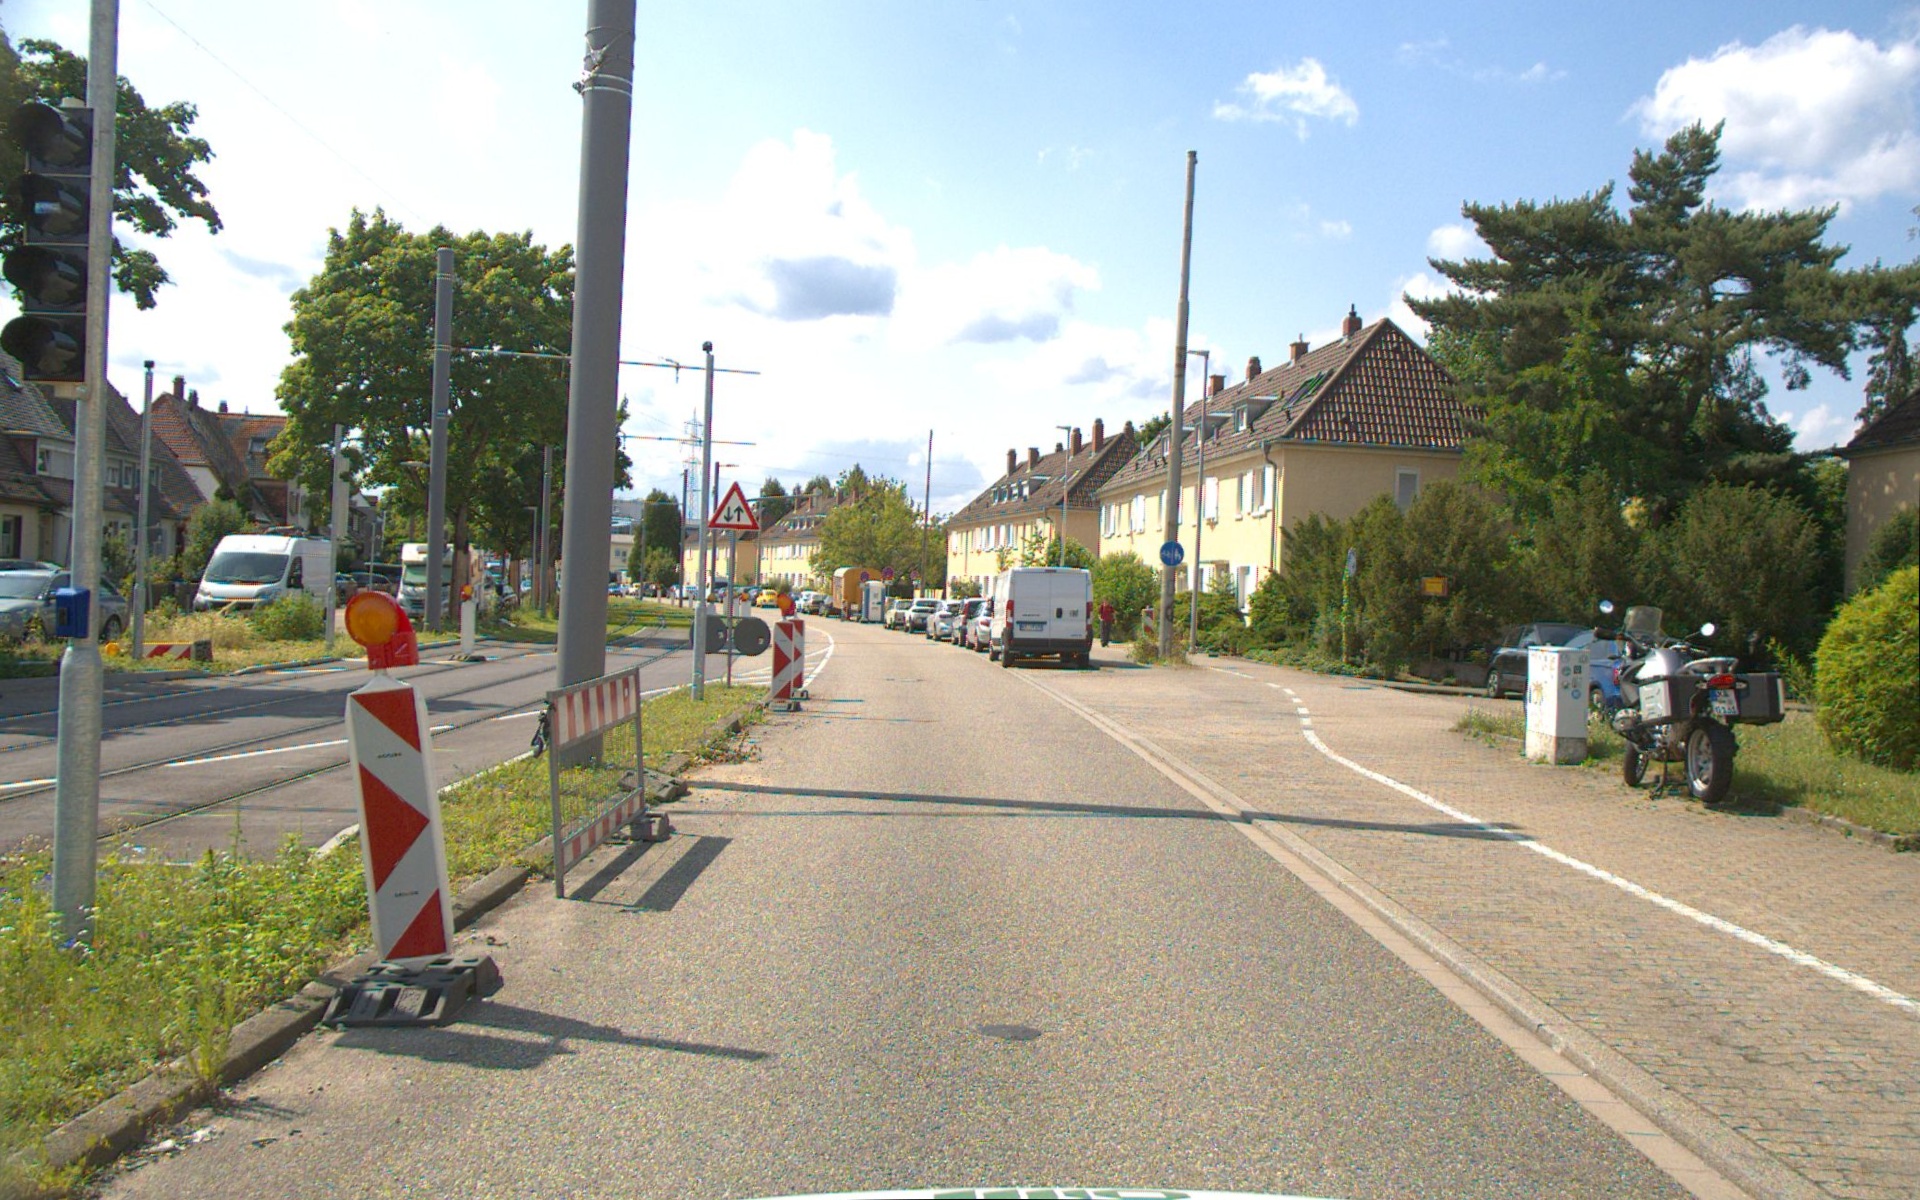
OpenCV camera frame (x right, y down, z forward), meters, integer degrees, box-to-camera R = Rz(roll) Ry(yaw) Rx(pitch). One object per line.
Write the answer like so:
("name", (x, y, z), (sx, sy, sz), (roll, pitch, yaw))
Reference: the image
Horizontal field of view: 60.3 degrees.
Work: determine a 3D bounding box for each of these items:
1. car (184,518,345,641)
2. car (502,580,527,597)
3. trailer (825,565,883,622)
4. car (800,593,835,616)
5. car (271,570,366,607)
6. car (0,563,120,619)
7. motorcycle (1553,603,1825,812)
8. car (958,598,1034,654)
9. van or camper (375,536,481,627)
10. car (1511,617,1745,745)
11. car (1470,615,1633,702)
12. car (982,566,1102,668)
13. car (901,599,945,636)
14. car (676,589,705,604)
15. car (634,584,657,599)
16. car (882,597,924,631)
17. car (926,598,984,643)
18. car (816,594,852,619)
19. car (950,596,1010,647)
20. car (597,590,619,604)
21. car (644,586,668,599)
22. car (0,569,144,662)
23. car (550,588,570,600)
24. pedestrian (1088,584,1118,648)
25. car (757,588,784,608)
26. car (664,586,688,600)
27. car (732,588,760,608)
("car", (-16.745, -0.463, 40.116), (2.111, 2.715, 4.911), (2, 0, -5))
("car", (-43.153, -1.156, 160.058), (1.786, 1.614, 4.536), (0, 1, -23))
("trailer", (-6.406, -0.400, 99.341), (2.643, 3.283, 5.065), (2, 0, -13))
("car", (-9.929, 0.267, 115.273), (1.678, 1.474, 4.818), (2, 0, -14))
("car", (-30.587, -0.564, 78.969), (3.919, 1.557, 1.867), (3, 0, -14))
("car", (-27.628, -0.275, 50.018), (3.548, 1.548, 1.668), (2, 0, -7))
("motorcycle", (5.748, 0.778, 13.278), (1.025, 1.496, 2.585), (-1, 0, 0))
("car", (1.026, 0.730, 49.231), (1.675, 1.530, 4.249), (1, 0, -7))
("van or camper", (-19.100, -0.634, 59.750), (2.331, 3.022, 7.283), (2, 0, -8))
("car", (9.350, 1.067, 23.529), (1.606, 1.404, 4.289), (3, 2, 1))
("car", (11.765, 1.126, 33.119), (1.596, 1.574, 3.805), (2, -1, -5))
("car", (1.867, 0.370, 39.923), (2.231, 2.221, 6.364), (1, 0, -3))
("car", (-1.636, 0.723, 71.589), (1.499, 1.507, 3.803), (1, 0, -7))
("car", (-28.098, -0.392, 172.462), (1.775, 1.483, 4.729), (0, 0, -24))
("car", (-36.201, -1.037, 190.155), (1.740, 1.672, 3.971), (0, 1, -24))
("car", (-2.708, 0.658, 77.854), (1.436, 1.528, 4.100), (1, 0, -10))
("car", (-0.203, 0.706, 59.806), (1.715, 1.524, 4.381), (1, 0, -5))
("car", (-8.220, 0.416, 107.542), (1.550, 1.474, 4.437), (2, 0, -14))
("car", (0.619, 0.684, 54.056), (1.596, 1.577, 3.805), (1, 0, -5))
("car", (-38.243, -0.345, 179.691), (1.642, 1.474, 3.932), (-1, 1, -23))
("car", (-34.103, -0.838, 185.556), (1.740, 1.442, 3.971), (0, 1, -24))
("car", (-16.213, 0.223, 28.945), (1.659, 1.490, 4.752), (2, 0, -3))
("car", (-49.563, -0.704, 204.904), (1.702, 1.413, 4.090), (2, 0, -24))
("pedestrian", (4.667, 0.529, 54.015), (0.758, 2.049, 0.761), (2, 0, -6))
("car", (-15.745, -0.166, 137.330), (1.610, 1.508, 3.913), (-1, 2, -17))
("car", (-30.477, -0.728, 177.461), (1.599, 1.442, 3.971), (0, 1, -24))
("car", (-19.063, -0.209, 147.277), (1.613, 1.630, 3.907), (2, 0, -21))
